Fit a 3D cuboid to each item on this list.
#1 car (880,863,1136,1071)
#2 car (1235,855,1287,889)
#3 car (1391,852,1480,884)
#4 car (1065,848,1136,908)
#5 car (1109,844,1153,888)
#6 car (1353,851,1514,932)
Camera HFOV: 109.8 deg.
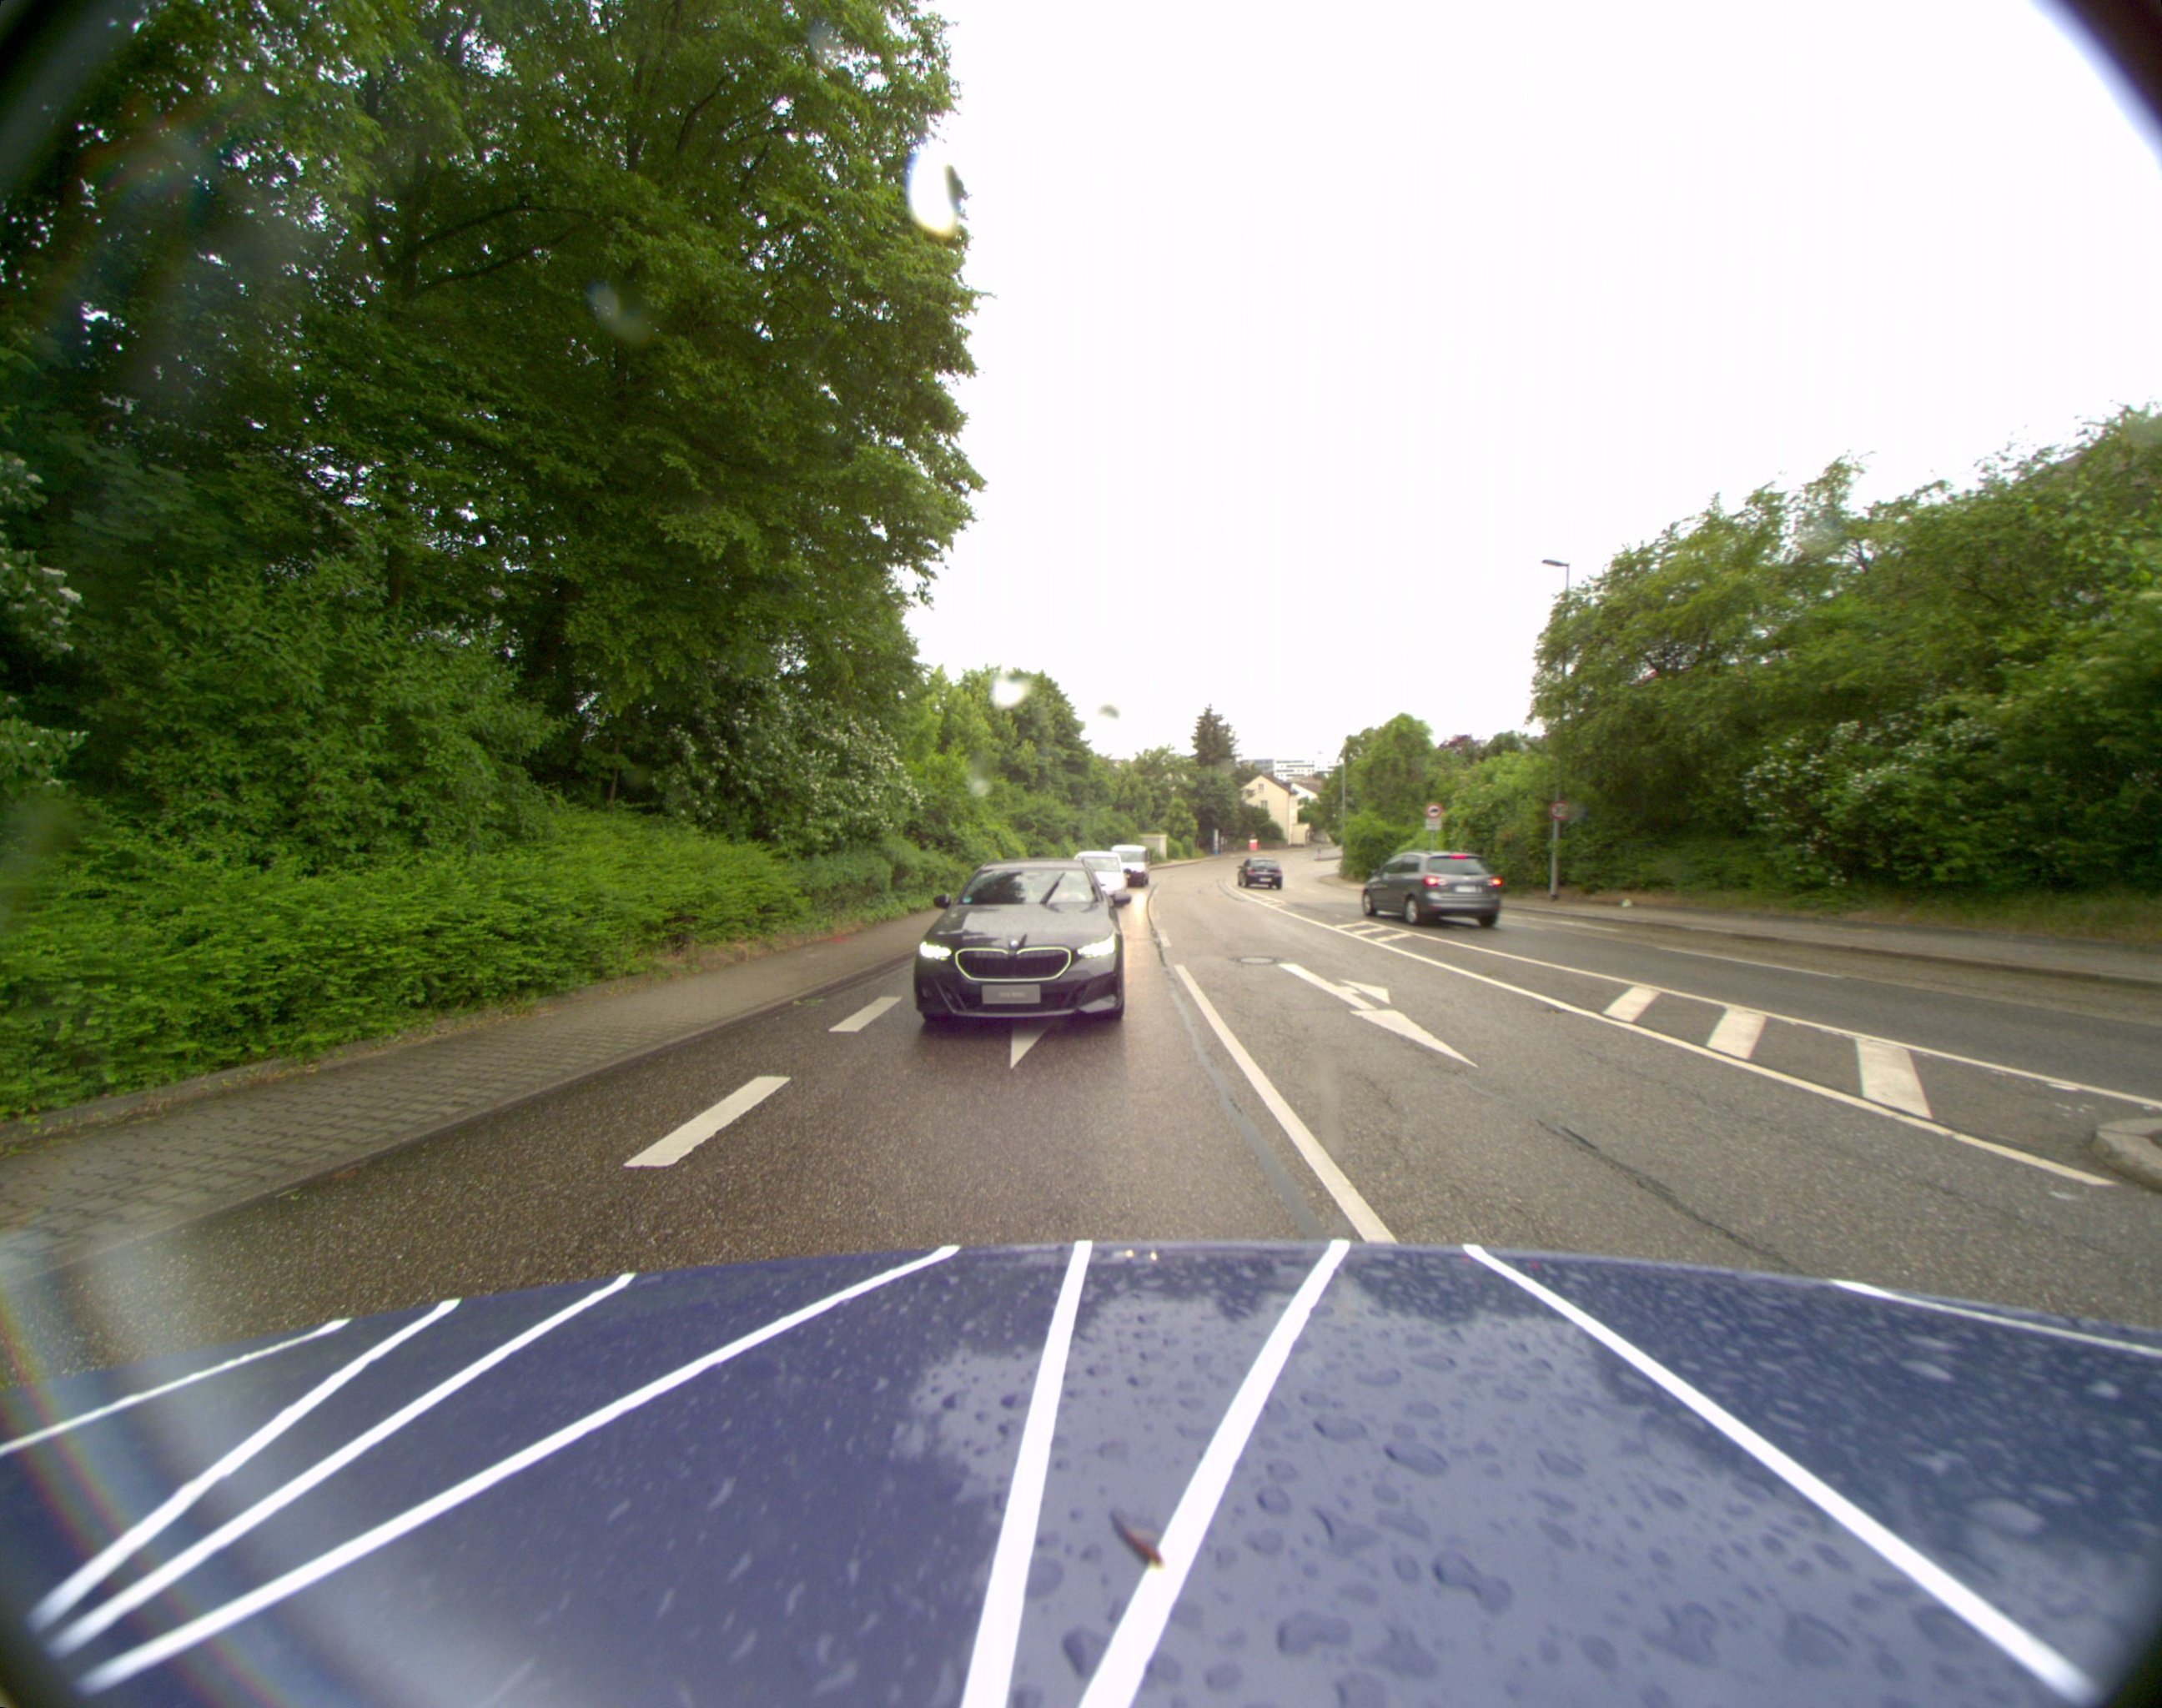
[{"bbox_3d":[-0.450,0.914,8.134,1.871,1.497,4.199,1,1,6],"label":"car"},{"bbox_3d":[8.555,0.800,36.409,1.899,1.500,4.001,1,0,5],"label":"car"},{"bbox_3d":[19.457,0.758,41.877,3.995,1.527,2.001,-4,0,8],"label":"car"},{"bbox_3d":[0.524,0.632,22.138,1.818,1.431,3.999,3,1,0],"label":"car"},{"bbox_3d":[2.243,0.477,34.671,1.777,1.765,4.000,3,2,2],"label":"car"},{"bbox_3d":[7.752,0.748,17.167,1.747,1.593,4.031,1,0,0],"label":"car"}]
